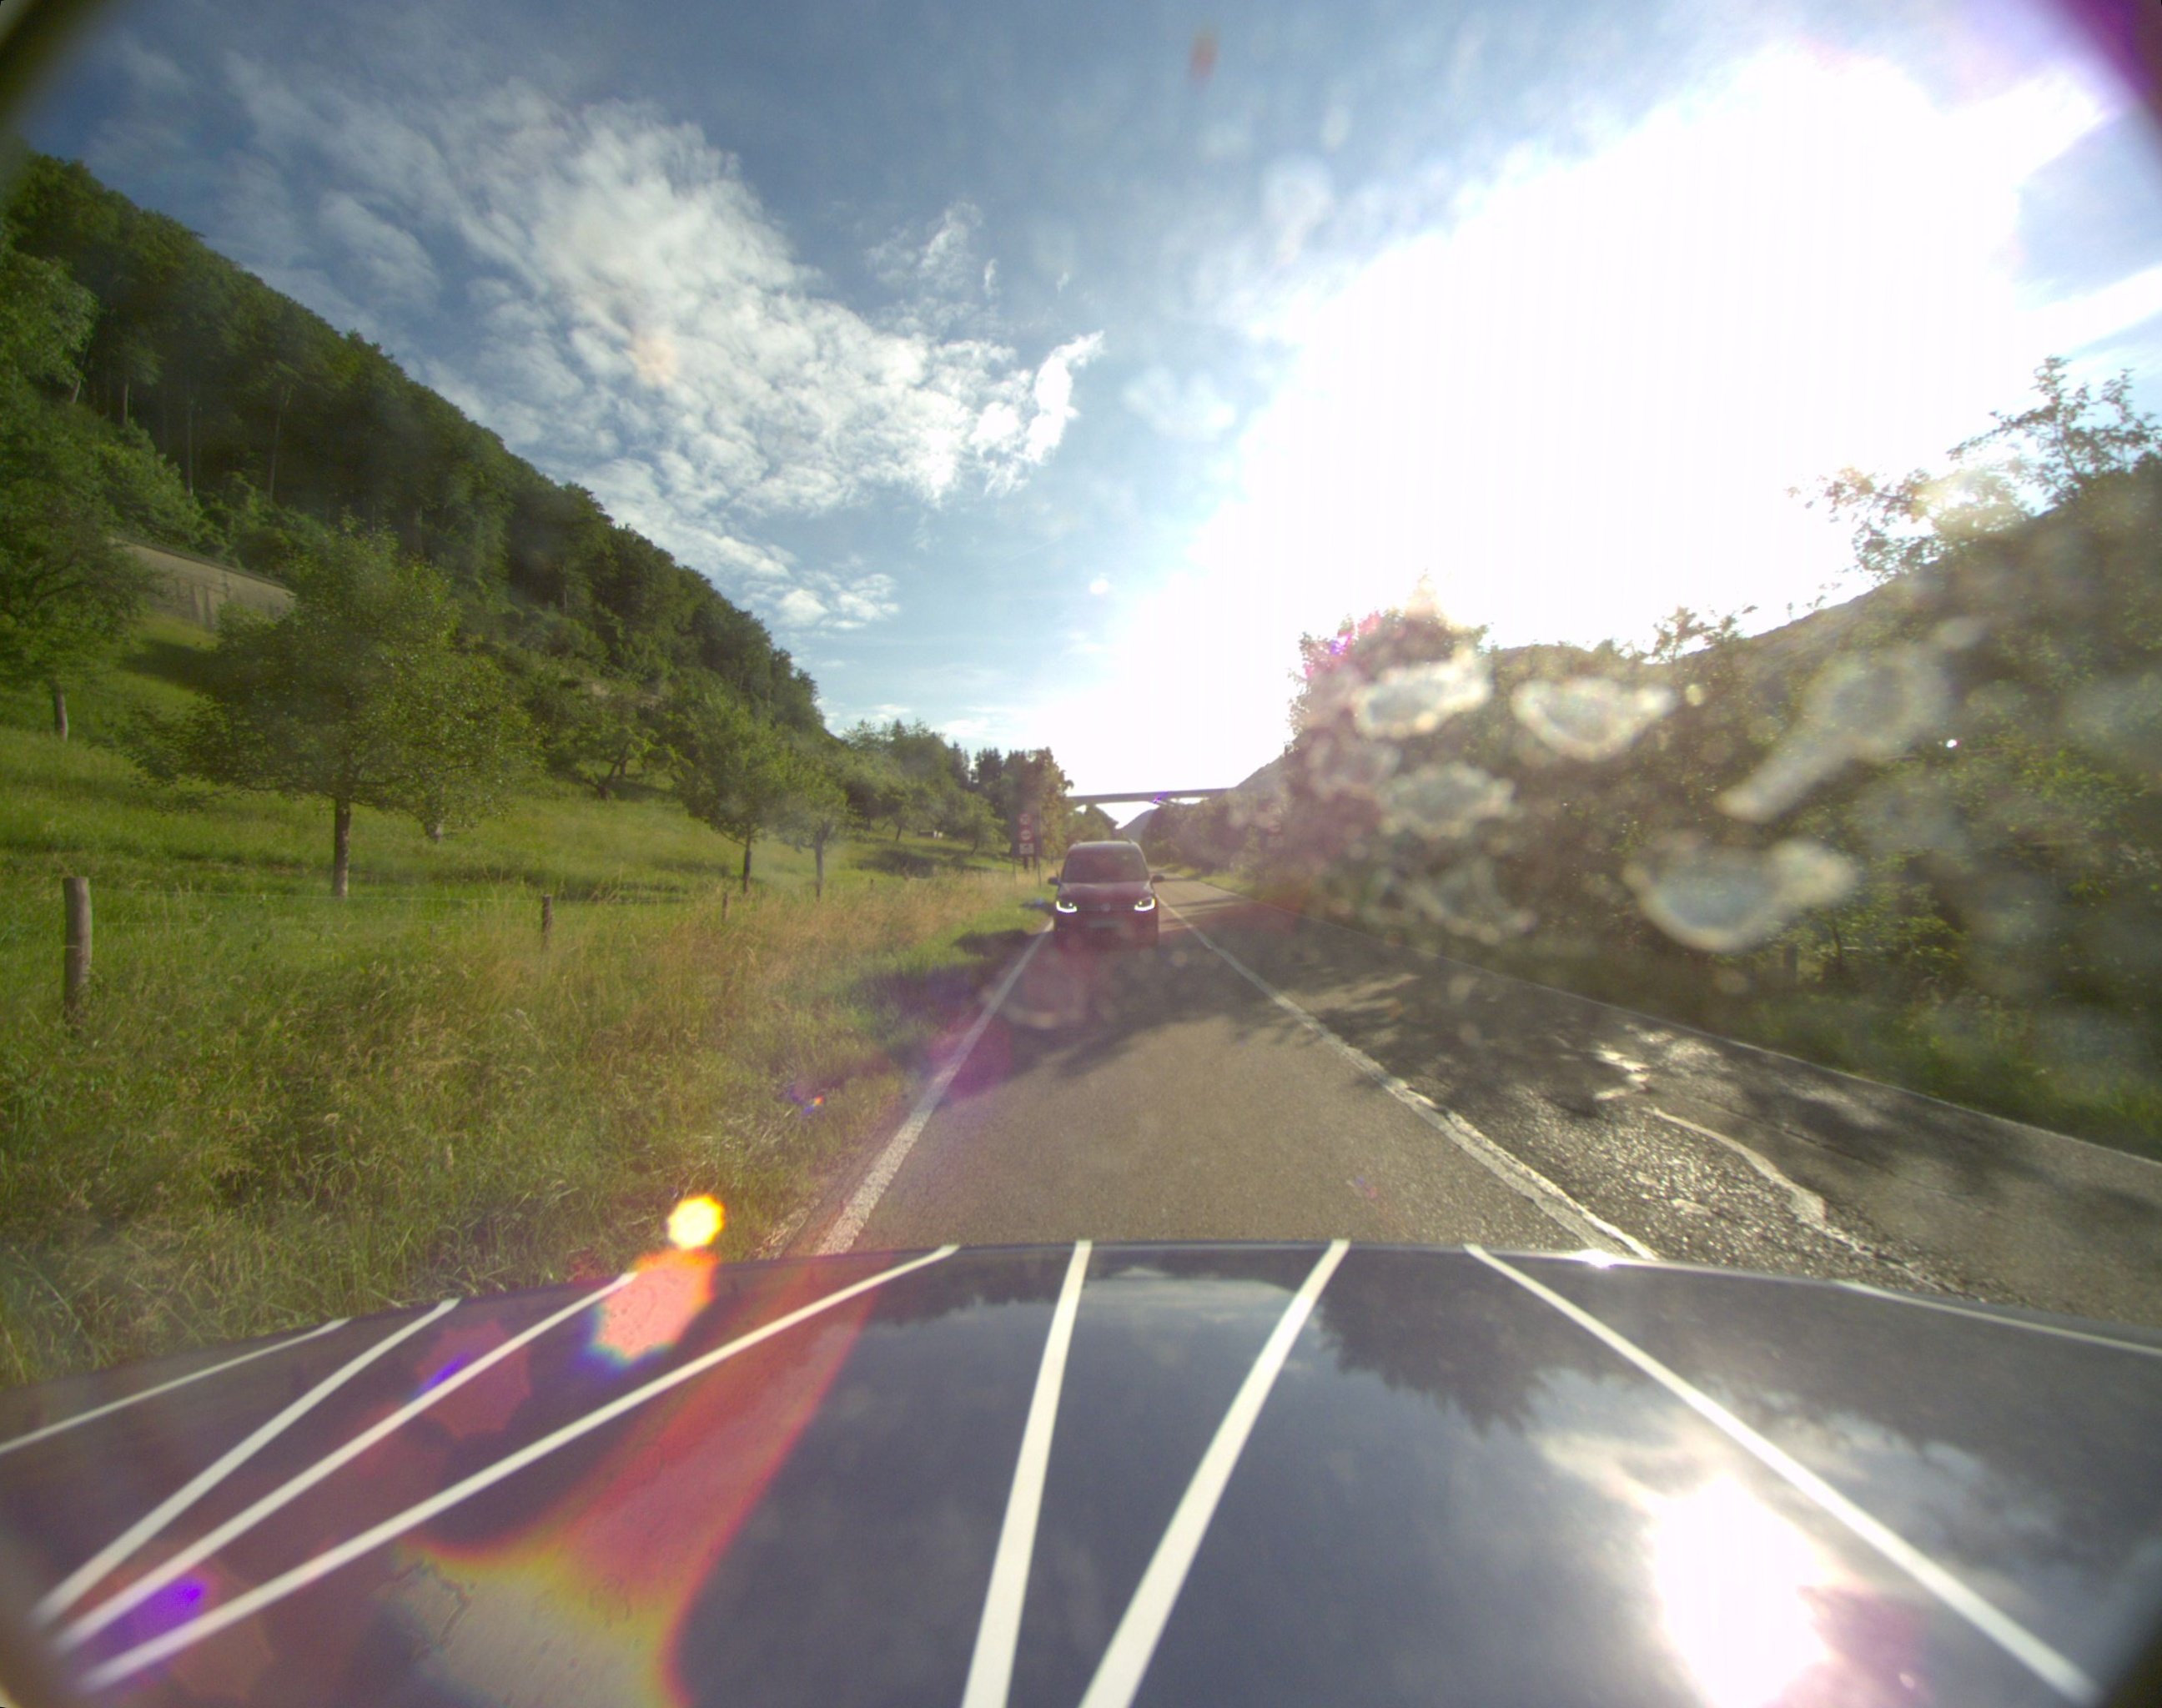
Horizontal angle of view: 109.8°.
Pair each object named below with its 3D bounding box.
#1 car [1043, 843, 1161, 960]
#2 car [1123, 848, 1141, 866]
[{"bbox_3d":[0.374,0.705,13.819,1.759,1.745,4.429,-2,1,1],"label":"car"},{"bbox_3d":[5.236,0.319,78.805,1.759,1.745,4.001,-2,1,4],"label":"car"}]
